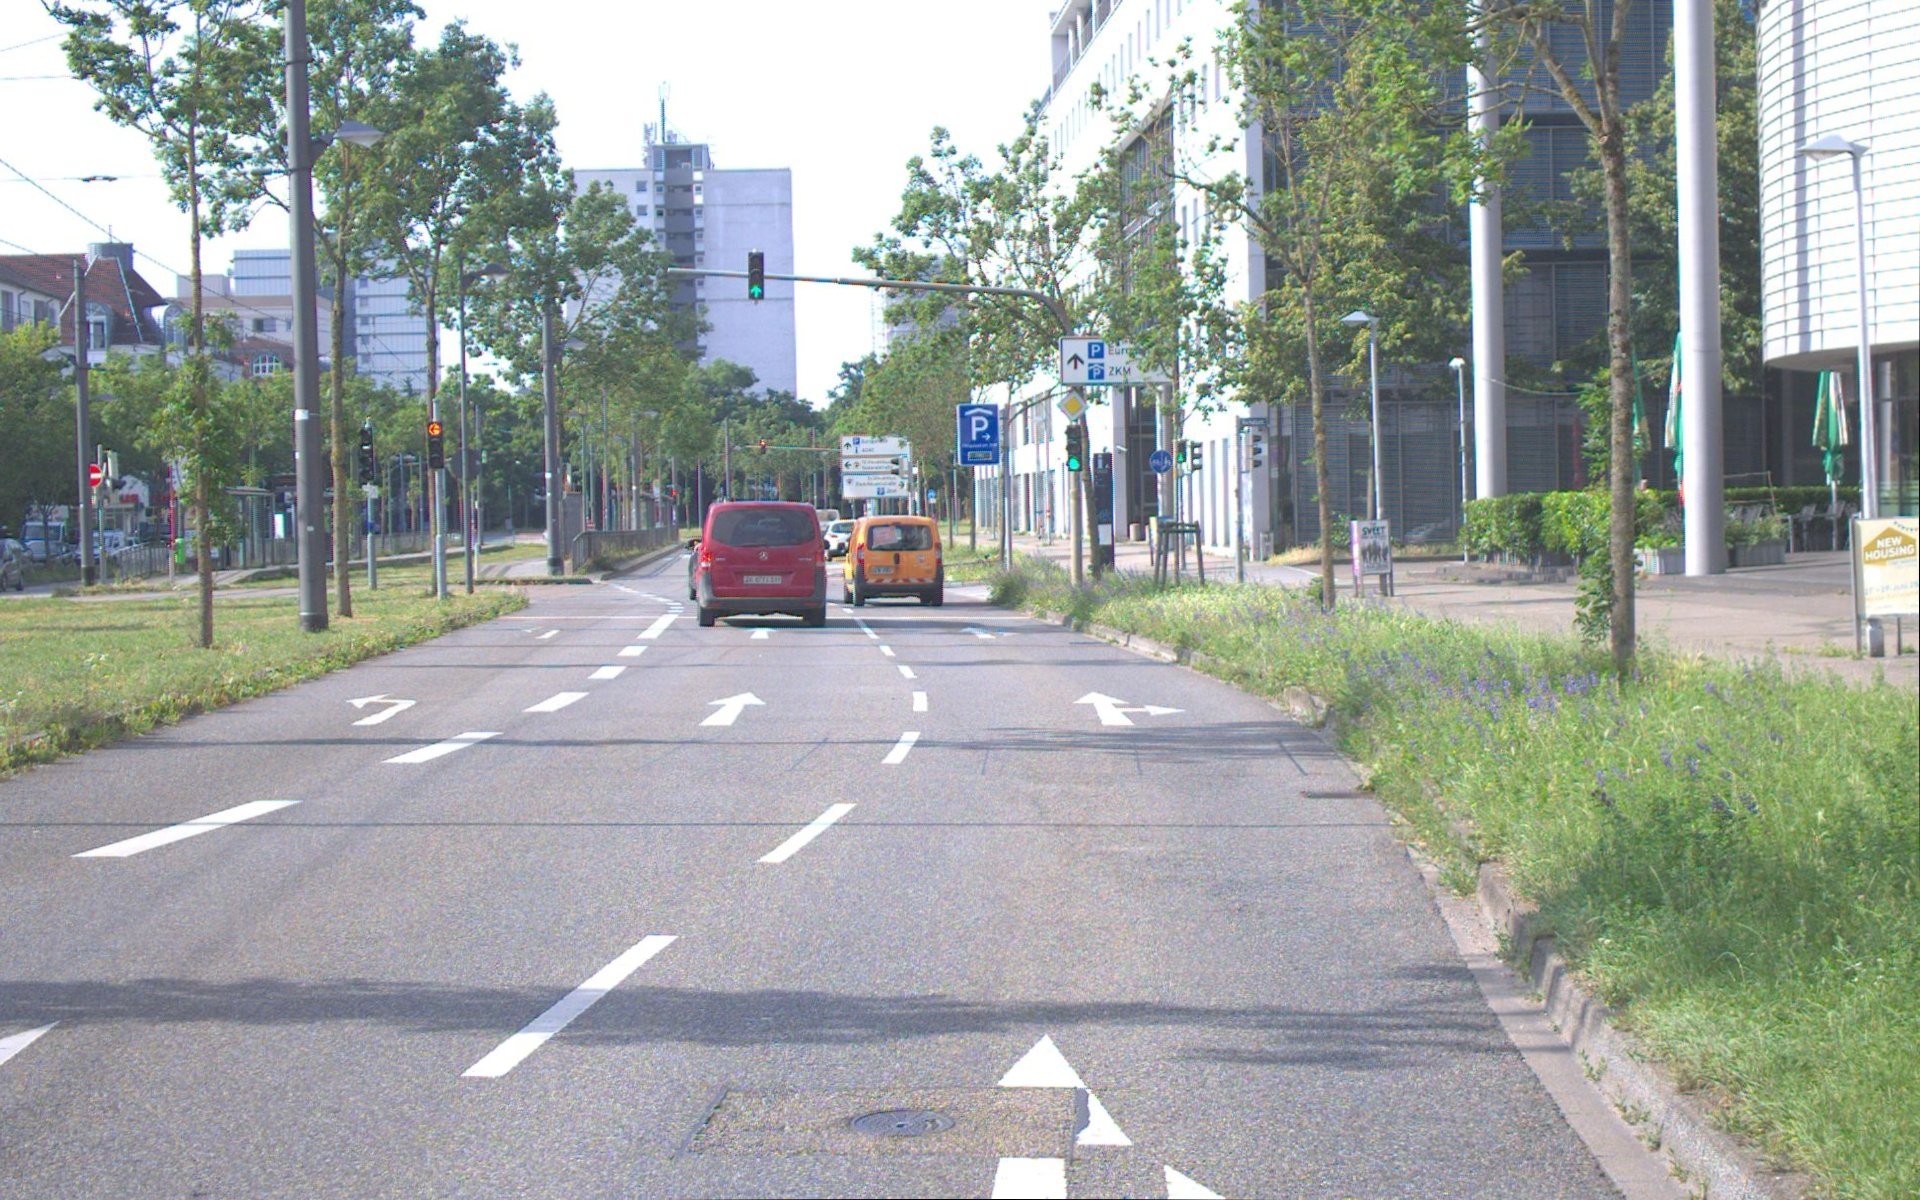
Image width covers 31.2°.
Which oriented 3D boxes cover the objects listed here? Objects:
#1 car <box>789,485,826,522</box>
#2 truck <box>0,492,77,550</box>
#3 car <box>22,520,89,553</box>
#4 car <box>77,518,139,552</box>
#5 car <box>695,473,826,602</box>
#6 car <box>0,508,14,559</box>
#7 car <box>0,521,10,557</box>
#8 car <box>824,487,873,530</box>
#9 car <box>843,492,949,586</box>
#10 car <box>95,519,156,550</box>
[{"bbox_3d":[-8.573,-5.429,193.317,1.993,2.006,4.001,-1,2,-3],"label":"car"},{"bbox_3d":[-42.549,-3.671,158.132,2.365,2.554,7.242,-1,2,-4],"label":"truck"},{"bbox_3d":[-37.737,-2.662,143.559,1.980,1.356,4.070,0,1,-4],"label":"car"},{"bbox_3d":[-38.226,-2.926,154.253,1.980,1.508,4.282,0,1,-4],"label":"car"},{"bbox_3d":[-3.039,-0.965,51.795,1.874,1.847,4.001,-1,2,-4],"label":"car"},{"bbox_3d":[-32.808,-2.180,113.448,1.993,1.700,4.713,-1,1,-2],"label":"car"},{"bbox_3d":[-37.008,-2.294,128.719,1.980,1.356,4.070,0,1,-4],"label":"car"},{"bbox_3d":[-4.212,-3.458,129.594,1.689,1.521,3.851,-3,2,-3],"label":"car"},{"bbox_3d":[-1.242,-1.170,64.928,1.875,1.690,3.974,-1,2,-2],"label":"car"},{"bbox_3d":[-38.665,-3.057,159.459,1.980,1.374,4.684,0,1,-4],"label":"car"}]
